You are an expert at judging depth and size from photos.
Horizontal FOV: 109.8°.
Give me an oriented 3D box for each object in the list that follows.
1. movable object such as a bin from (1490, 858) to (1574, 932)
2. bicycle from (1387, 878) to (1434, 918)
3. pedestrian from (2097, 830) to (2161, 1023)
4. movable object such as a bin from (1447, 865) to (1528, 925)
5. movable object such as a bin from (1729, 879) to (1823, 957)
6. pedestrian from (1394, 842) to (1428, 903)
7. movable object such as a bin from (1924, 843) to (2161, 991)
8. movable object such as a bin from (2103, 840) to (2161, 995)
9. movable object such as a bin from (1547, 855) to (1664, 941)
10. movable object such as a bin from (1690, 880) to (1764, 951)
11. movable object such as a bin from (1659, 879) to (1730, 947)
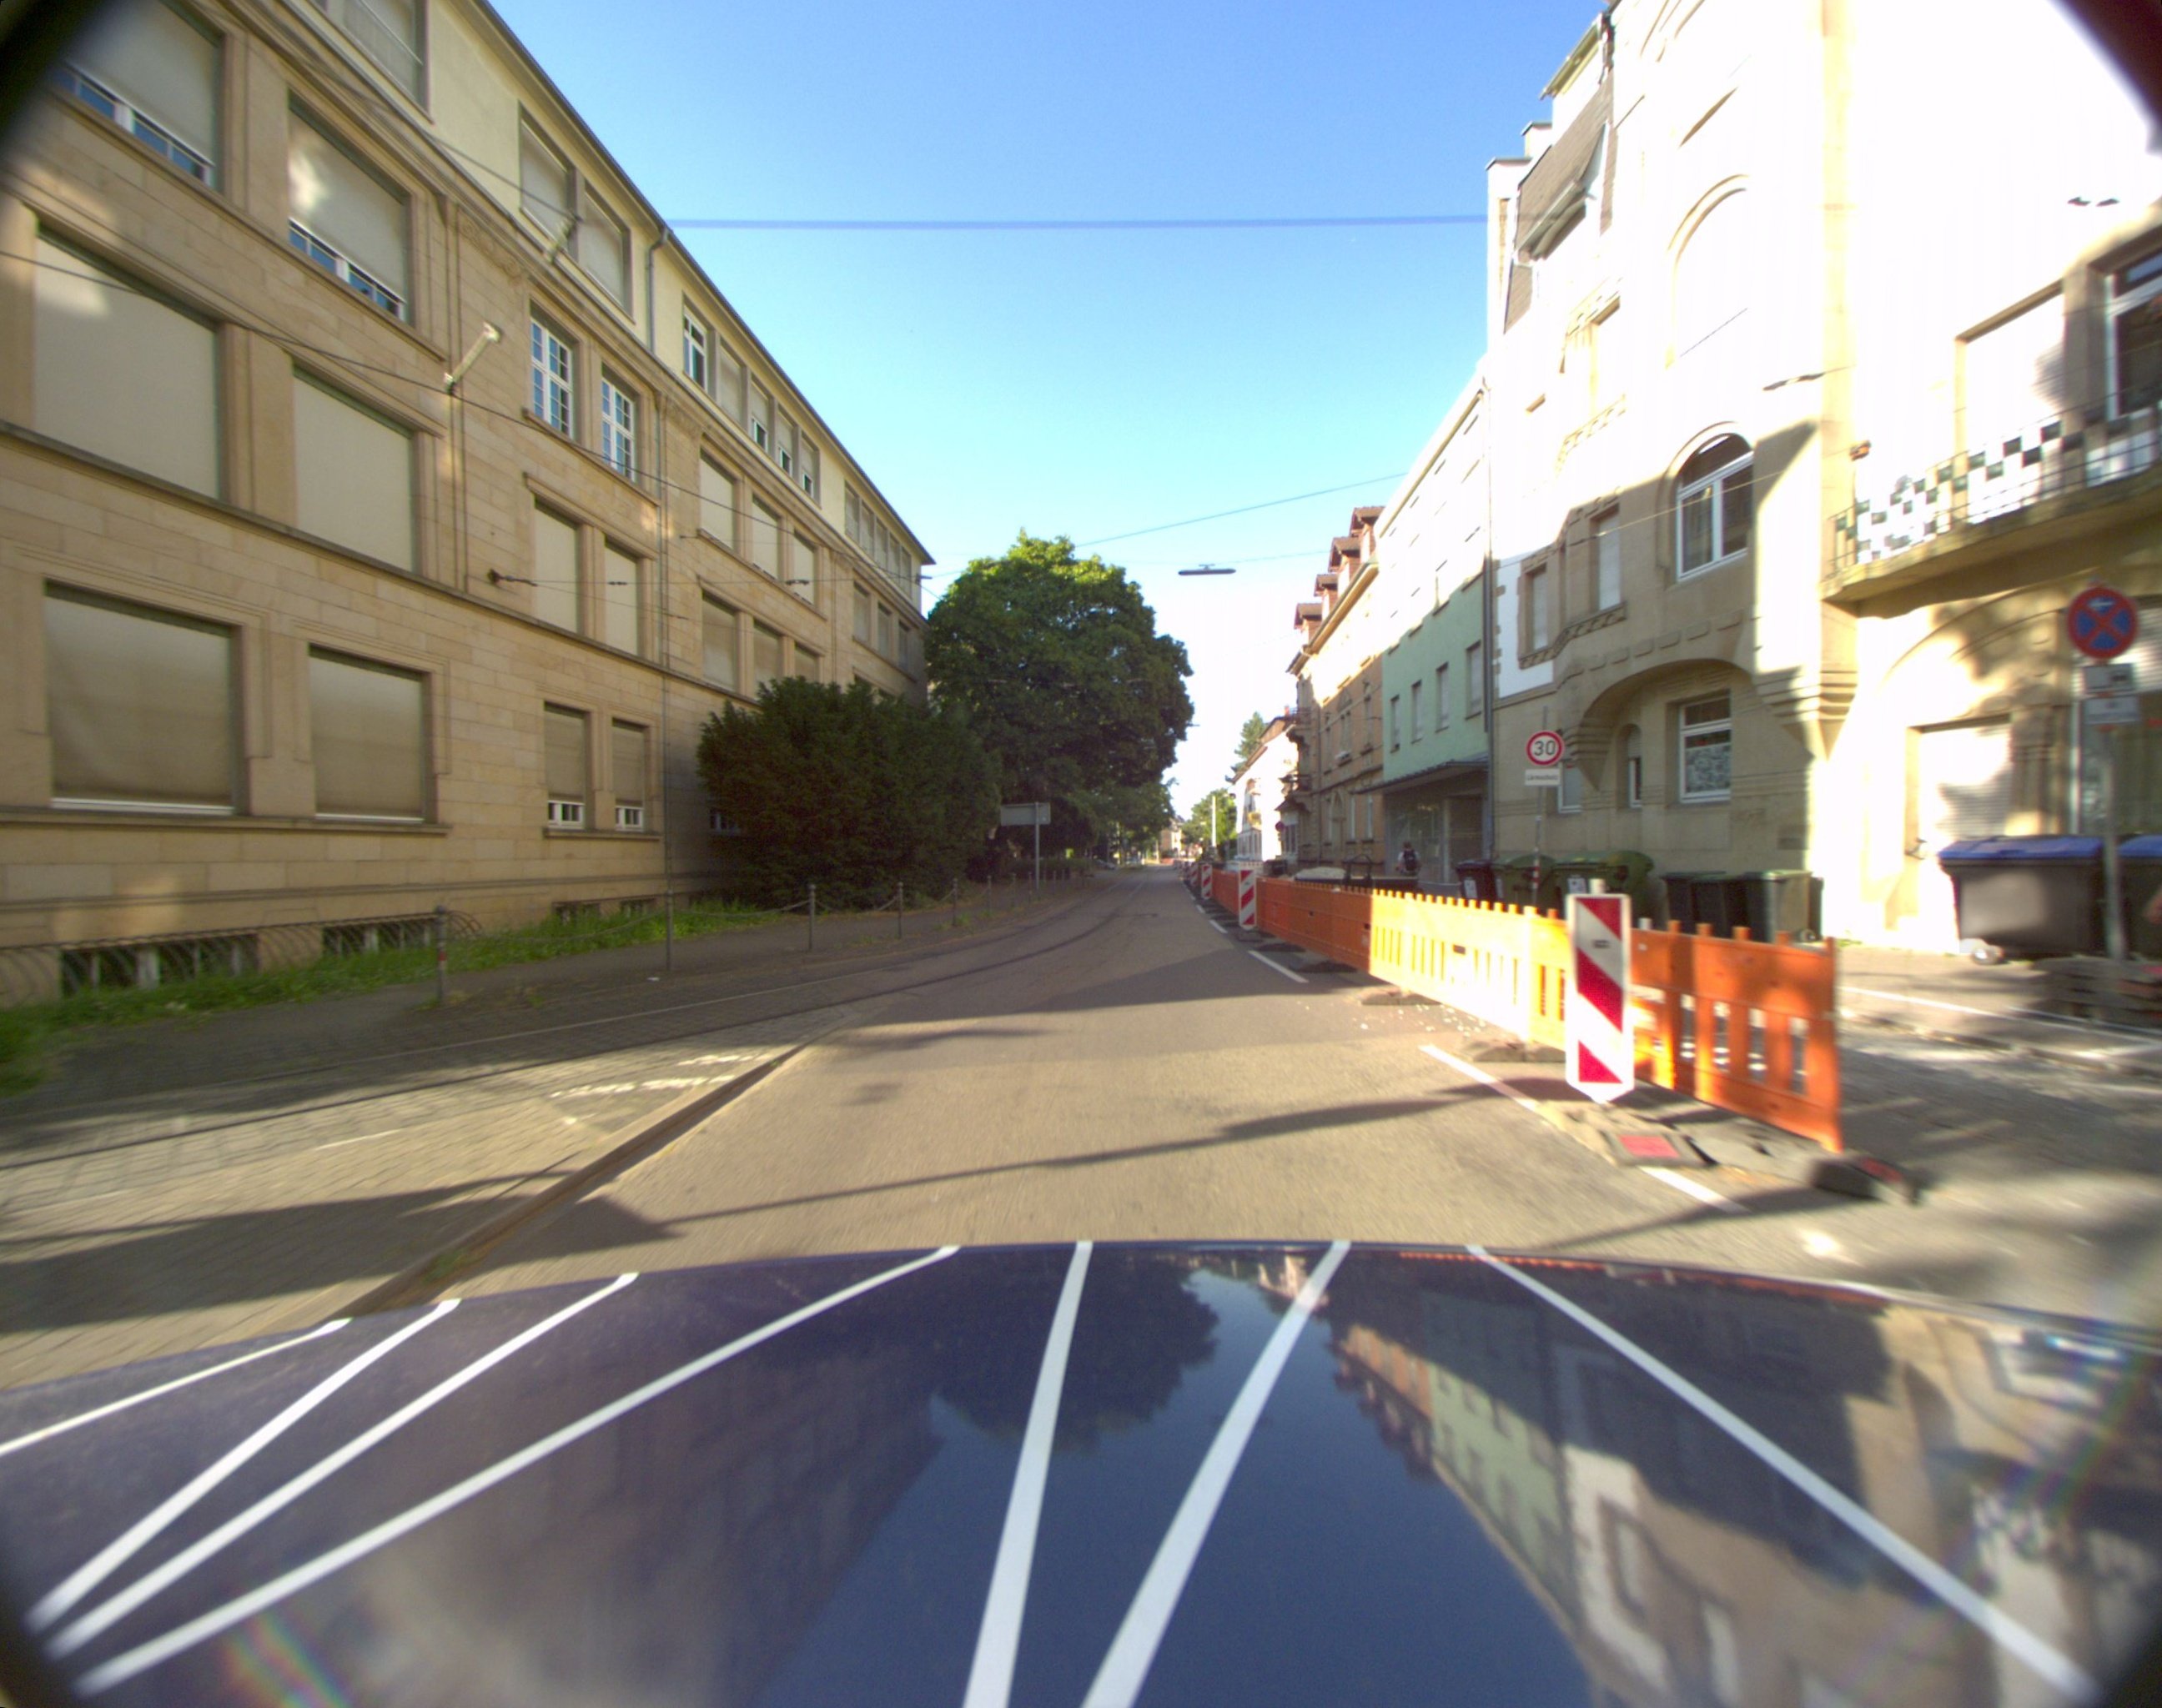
[{"bbox_3d":[9.331,0.823,15.796,1.084,1.423,1.408,-2,1,13],"label":"movable object such as a bin"},{"bbox_3d":[8.647,1.131,19.971,0.601,0.927,1.474,-2,0,2],"label":"bicycle"},{"bbox_3d":[9.364,0.593,6.256,0.823,1.594,0.916,-2,1,-11],"label":"pedestrian"},{"bbox_3d":[9.288,0.922,17.419,1.085,1.256,1.335,-2,1,-2],"label":"movable object such as a bin"},{"bbox_3d":[10.107,0.911,11.070,0.638,1.035,0.764,-2,1,-3],"label":"movable object such as a bin"},{"bbox_3d":[8.627,0.476,19.877,0.599,1.547,0.616,-2,1,2],"label":"pedestrian"},{"bbox_3d":[10.510,0.620,8.267,1.086,1.423,1.406,-2,1,-8],"label":"movable object such as a bin"},{"bbox_3d":[10.629,0.581,6.834,1.086,1.423,1.344,-2,1,-8],"label":"movable object such as a bin"},{"bbox_3d":[9.502,0.760,13.845,1.085,1.423,1.407,-2,1,-3],"label":"movable object such as a bin"},{"bbox_3d":[9.967,0.933,11.736,0.638,1.018,0.556,-2,1,-3],"label":"movable object such as a bin"},{"bbox_3d":[9.928,0.946,12.311,0.638,1.035,0.588,-2,1,-3],"label":"movable object such as a bin"}]
